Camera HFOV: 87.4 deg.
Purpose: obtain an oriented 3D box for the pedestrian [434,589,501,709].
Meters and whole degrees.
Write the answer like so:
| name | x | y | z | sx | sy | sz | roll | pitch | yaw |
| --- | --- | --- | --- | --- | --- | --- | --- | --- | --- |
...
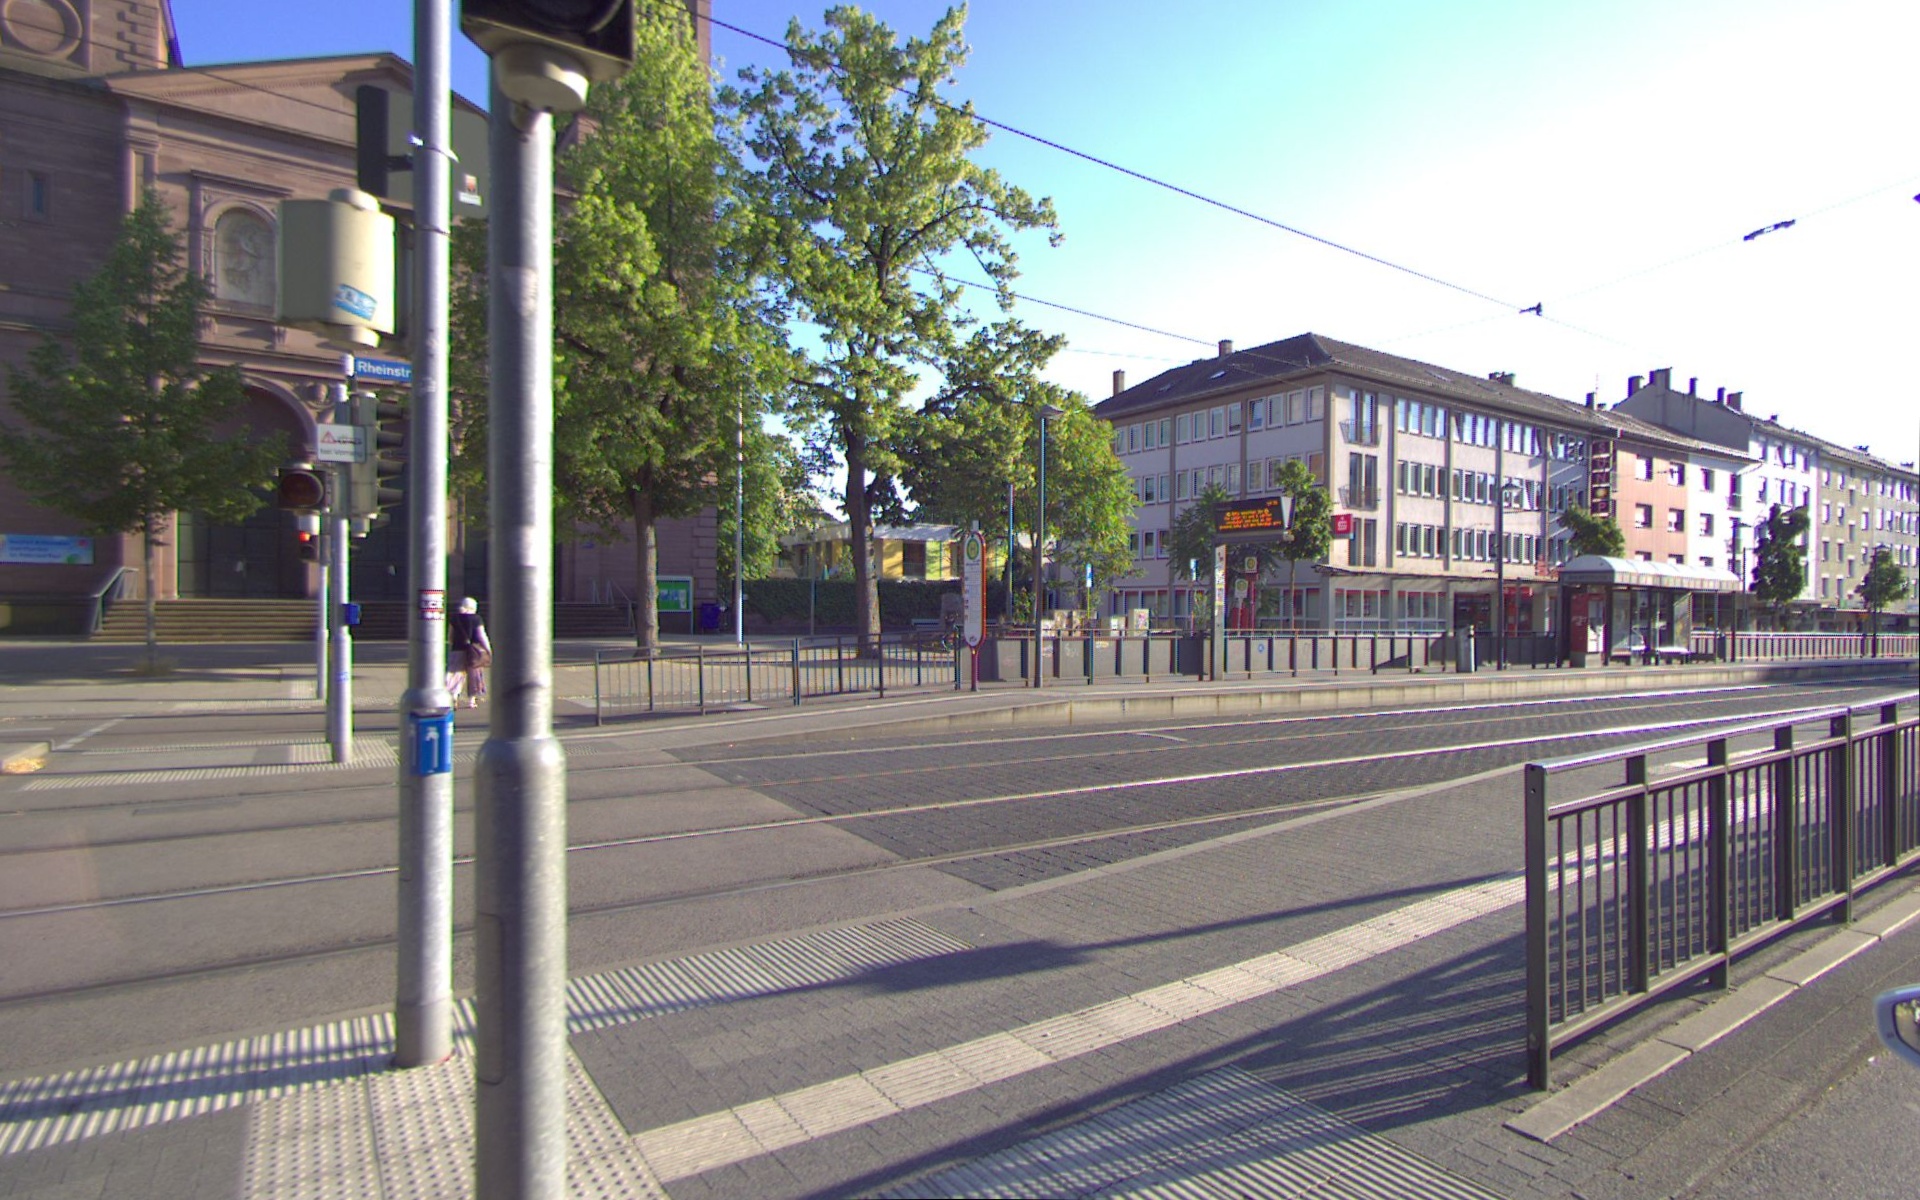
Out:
| name | x | y | z | sx | sy | sz | roll | pitch | yaw |
| --- | --- | --- | --- | --- | --- | --- | --- | --- | --- |
| pedestrian | -7.710 | 0.741 | 15.702 | 0.823 | 1.783 | 0.914 | 1 | 2 | -32 |

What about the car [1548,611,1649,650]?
| name | x | y | z | sx | sy | sz | roll | pitch | yaw |
| --- | --- | --- | --- | --- | --- | --- | --- | --- | --- |
| car | 29.072 | 1.368 | 45.808 | 3.440 | 1.702 | 1.772 | 1 | 0 | 5 |
